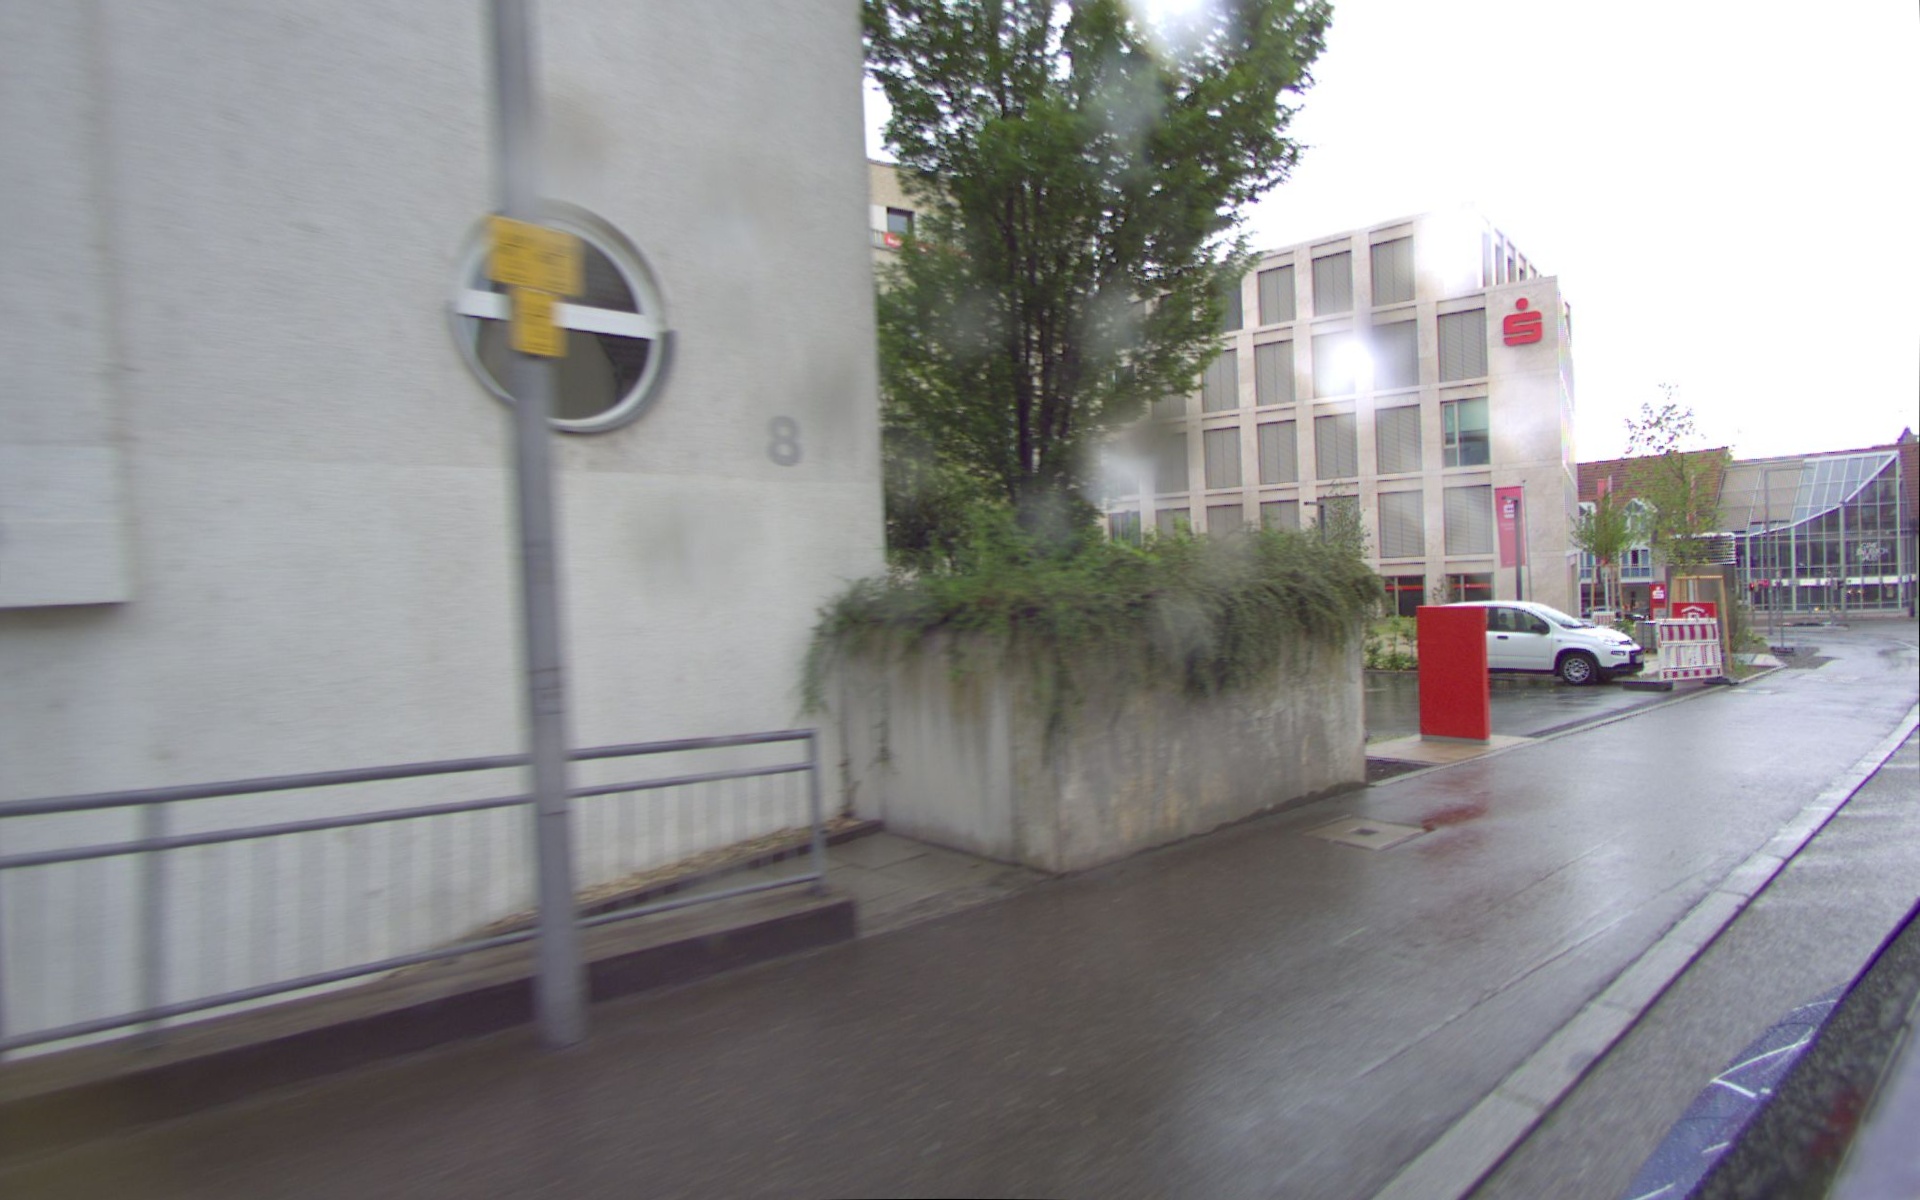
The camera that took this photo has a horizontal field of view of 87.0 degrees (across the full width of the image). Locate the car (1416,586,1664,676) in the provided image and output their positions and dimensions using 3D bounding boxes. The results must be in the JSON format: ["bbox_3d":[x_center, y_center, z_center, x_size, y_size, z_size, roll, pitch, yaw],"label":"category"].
[{"bbox_3d":[10.814,0.571,19.039,1.746,1.523,3.670,0,-2,-43],"label":"car"}]
